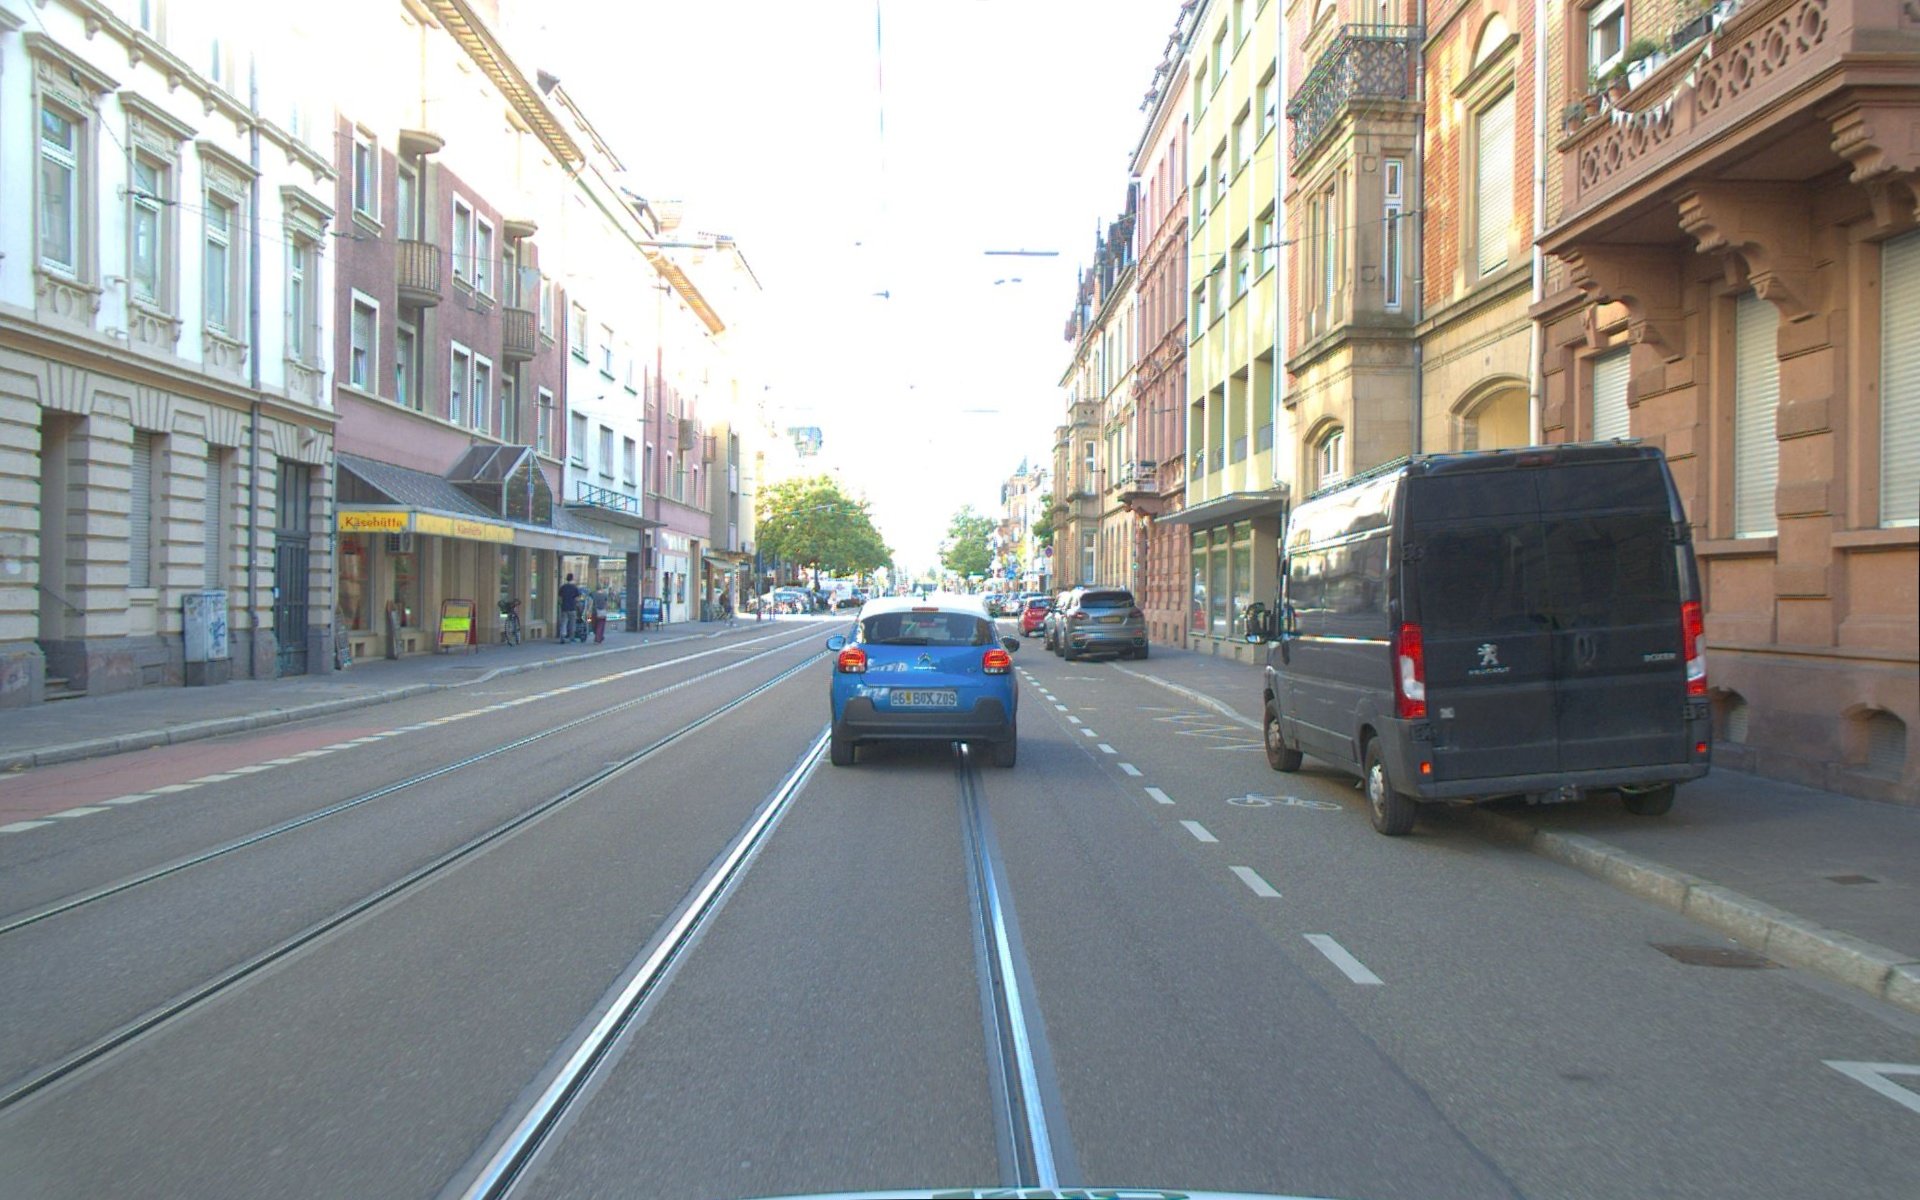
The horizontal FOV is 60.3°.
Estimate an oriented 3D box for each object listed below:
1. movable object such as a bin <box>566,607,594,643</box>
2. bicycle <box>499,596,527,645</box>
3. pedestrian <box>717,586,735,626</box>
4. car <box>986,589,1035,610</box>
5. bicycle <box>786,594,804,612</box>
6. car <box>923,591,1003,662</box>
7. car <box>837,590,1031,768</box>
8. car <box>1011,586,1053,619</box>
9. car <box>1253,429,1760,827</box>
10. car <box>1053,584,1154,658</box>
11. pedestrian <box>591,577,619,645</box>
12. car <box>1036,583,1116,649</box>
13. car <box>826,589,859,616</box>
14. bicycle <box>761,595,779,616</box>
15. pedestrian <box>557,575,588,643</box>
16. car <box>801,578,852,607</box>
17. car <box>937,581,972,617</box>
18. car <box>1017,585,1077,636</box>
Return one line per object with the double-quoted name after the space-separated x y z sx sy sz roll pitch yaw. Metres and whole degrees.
-10.219 0.669 44.527 0.598 0.930 0.695 0 0 -1 "movable object such as a bin"
-11.118 0.496 41.169 0.610 1.180 2.057 0 0 -14 "bicycle"
-9.902 0.250 70.088 0.671 1.667 0.674 0 0 -2 "pedestrian"
3.953 -0.011 130.043 3.760 1.646 1.790 0 0 -4 "car"
-10.472 0.180 104.683 1.099 1.166 3.639 0 0 -6 "bicycle"
0.010 0.547 36.914 1.633 1.504 3.998 0 0 -2 "car"
-0.283 0.661 16.043 1.640 1.503 3.998 0 0 -2 "car"
3.872 0.107 89.186 1.965 1.701 4.390 -1 0 -1 "car"
3.915 0.160 13.176 2.224 2.479 5.720 0 0 1 "car"
3.438 0.471 40.388 1.965 1.701 4.804 0 0 -1 "car"
-9.453 0.283 44.023 0.697 1.795 0.653 0 0 -9 "pedestrian"
3.265 0.432 47.279 1.867 1.788 3.998 0 0 -2 "car"
-7.559 0.164 106.914 1.953 1.680 3.998 0 0 -2 "car"
-12.012 0.333 104.406 1.099 1.342 3.639 0 0 -6 "bicycle"
-10.264 0.245 43.816 0.696 1.795 0.570 0 0 -2 "pedestrian"
-12.368 -0.720 152.986 4.257 2.626 2.190 0 0 -27 "car"
-0.366 -0.077 97.530 1.953 2.049 3.998 0 0 -2 "car"
3.358 0.372 64.662 1.965 1.701 4.391 2 3 -1 "car"
